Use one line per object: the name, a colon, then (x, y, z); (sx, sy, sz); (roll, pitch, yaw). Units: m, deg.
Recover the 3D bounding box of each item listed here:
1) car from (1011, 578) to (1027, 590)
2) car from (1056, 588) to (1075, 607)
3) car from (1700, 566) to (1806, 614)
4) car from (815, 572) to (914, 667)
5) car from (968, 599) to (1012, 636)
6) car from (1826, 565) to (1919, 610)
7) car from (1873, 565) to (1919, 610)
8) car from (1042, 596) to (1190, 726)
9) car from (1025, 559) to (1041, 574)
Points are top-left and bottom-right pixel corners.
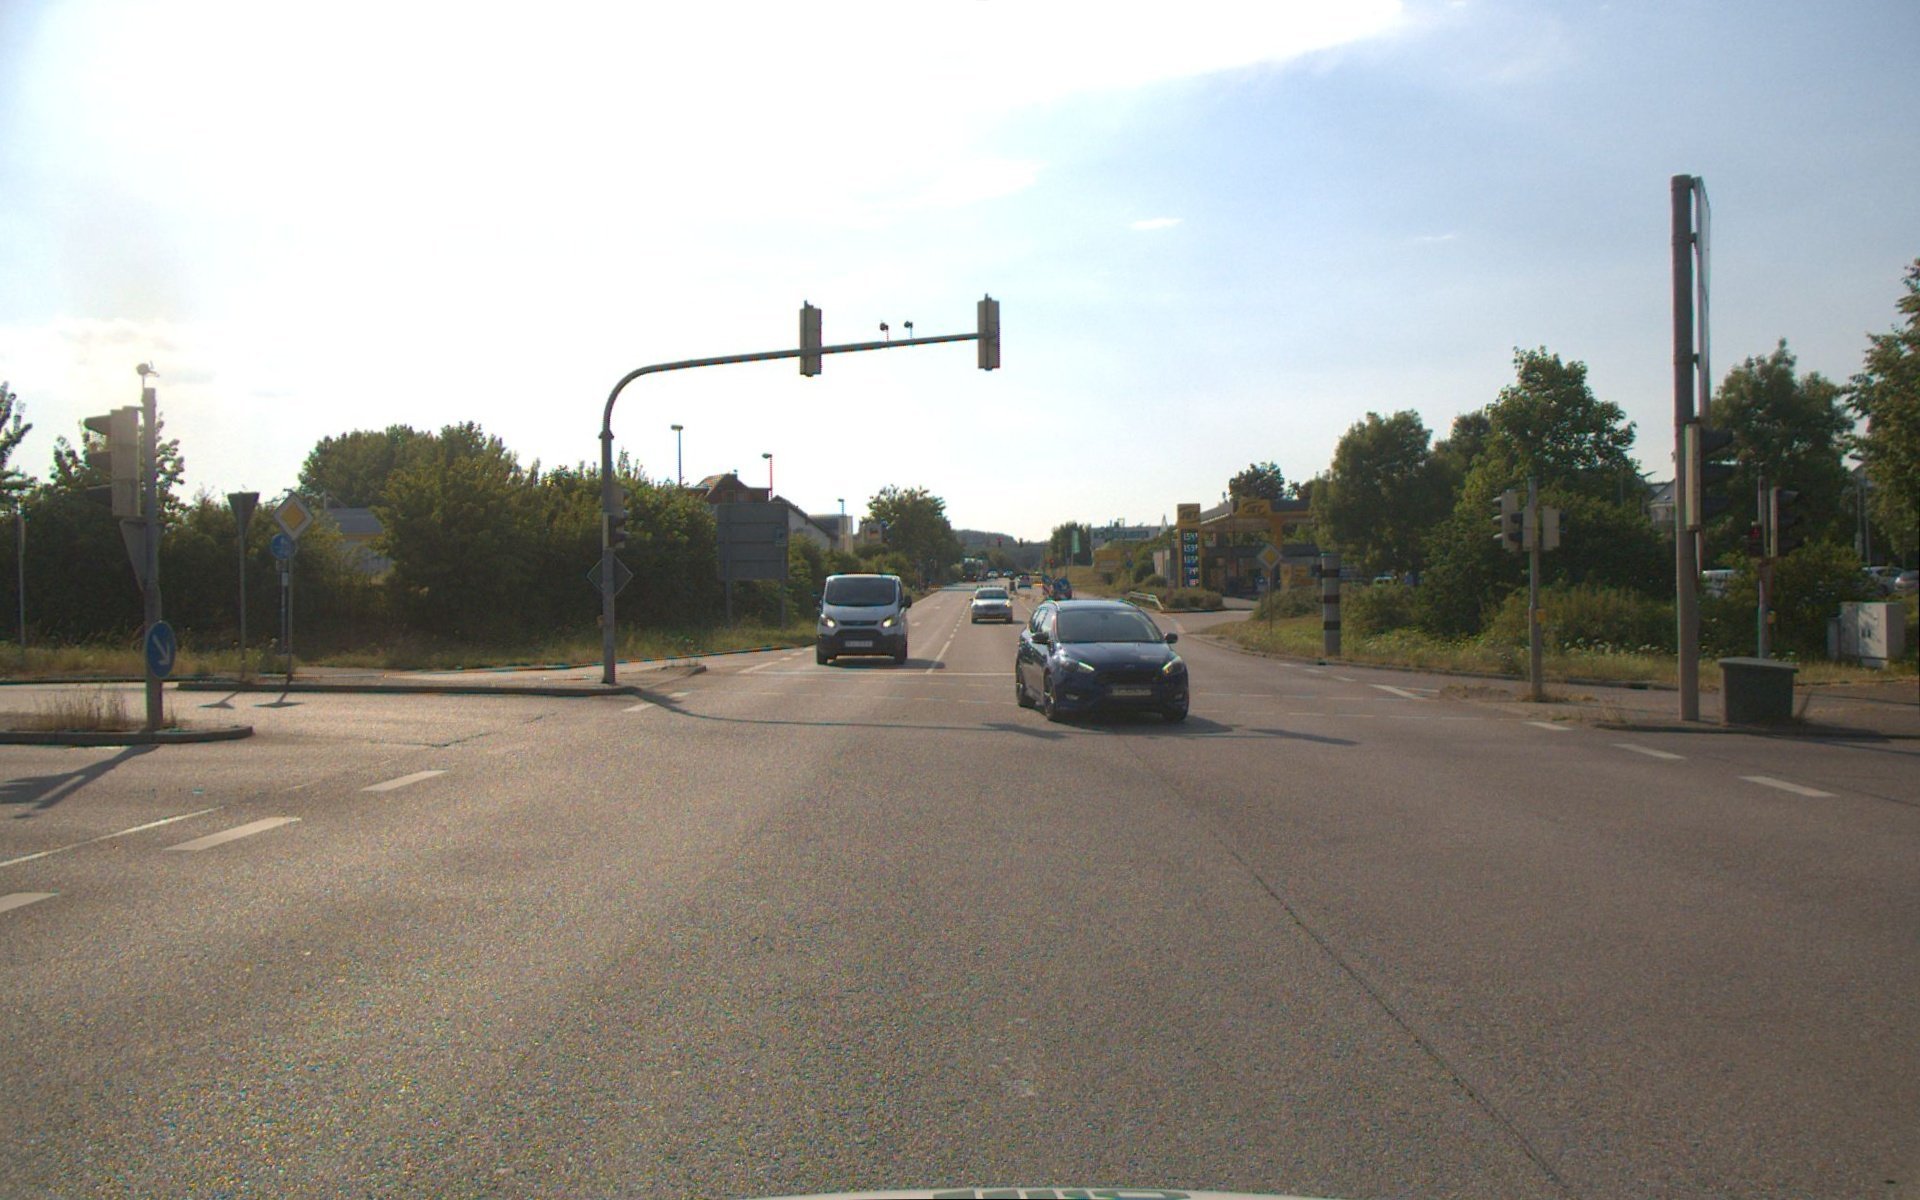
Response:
car: (7.070, -1.871, 198.060); (1.706, 1.376, 3.201); (1, -1, -3)
car: (8.484, -0.171, 132.934); (1.517, 1.474, 3.051); (1, -1, 3)
car: (36.008, -0.451, 75.110); (4.584, 2.049, 1.951); (1, -1, -26)
car: (-2.114, 0.373, 37.897); (1.861, 1.981, 4.819); (1, 1, 1)
car: (1.288, 0.765, 72.500); (1.819, 1.540, 4.953); (1, -1, 0)
car: (45.510, -0.617, 81.837); (4.844, 2.049, 1.988); (2, -1, -21)
car: (46.589, -0.567, 79.718); (4.589, 2.049, 1.988); (2, -1, -21)
car: (1.996, 0.744, 21.966); (1.750, 1.524, 4.304); (1, -1, 3)
car: (10.831, -4.968, 246.947); (1.954, 2.049, 3.997); (1, -1, -3)
